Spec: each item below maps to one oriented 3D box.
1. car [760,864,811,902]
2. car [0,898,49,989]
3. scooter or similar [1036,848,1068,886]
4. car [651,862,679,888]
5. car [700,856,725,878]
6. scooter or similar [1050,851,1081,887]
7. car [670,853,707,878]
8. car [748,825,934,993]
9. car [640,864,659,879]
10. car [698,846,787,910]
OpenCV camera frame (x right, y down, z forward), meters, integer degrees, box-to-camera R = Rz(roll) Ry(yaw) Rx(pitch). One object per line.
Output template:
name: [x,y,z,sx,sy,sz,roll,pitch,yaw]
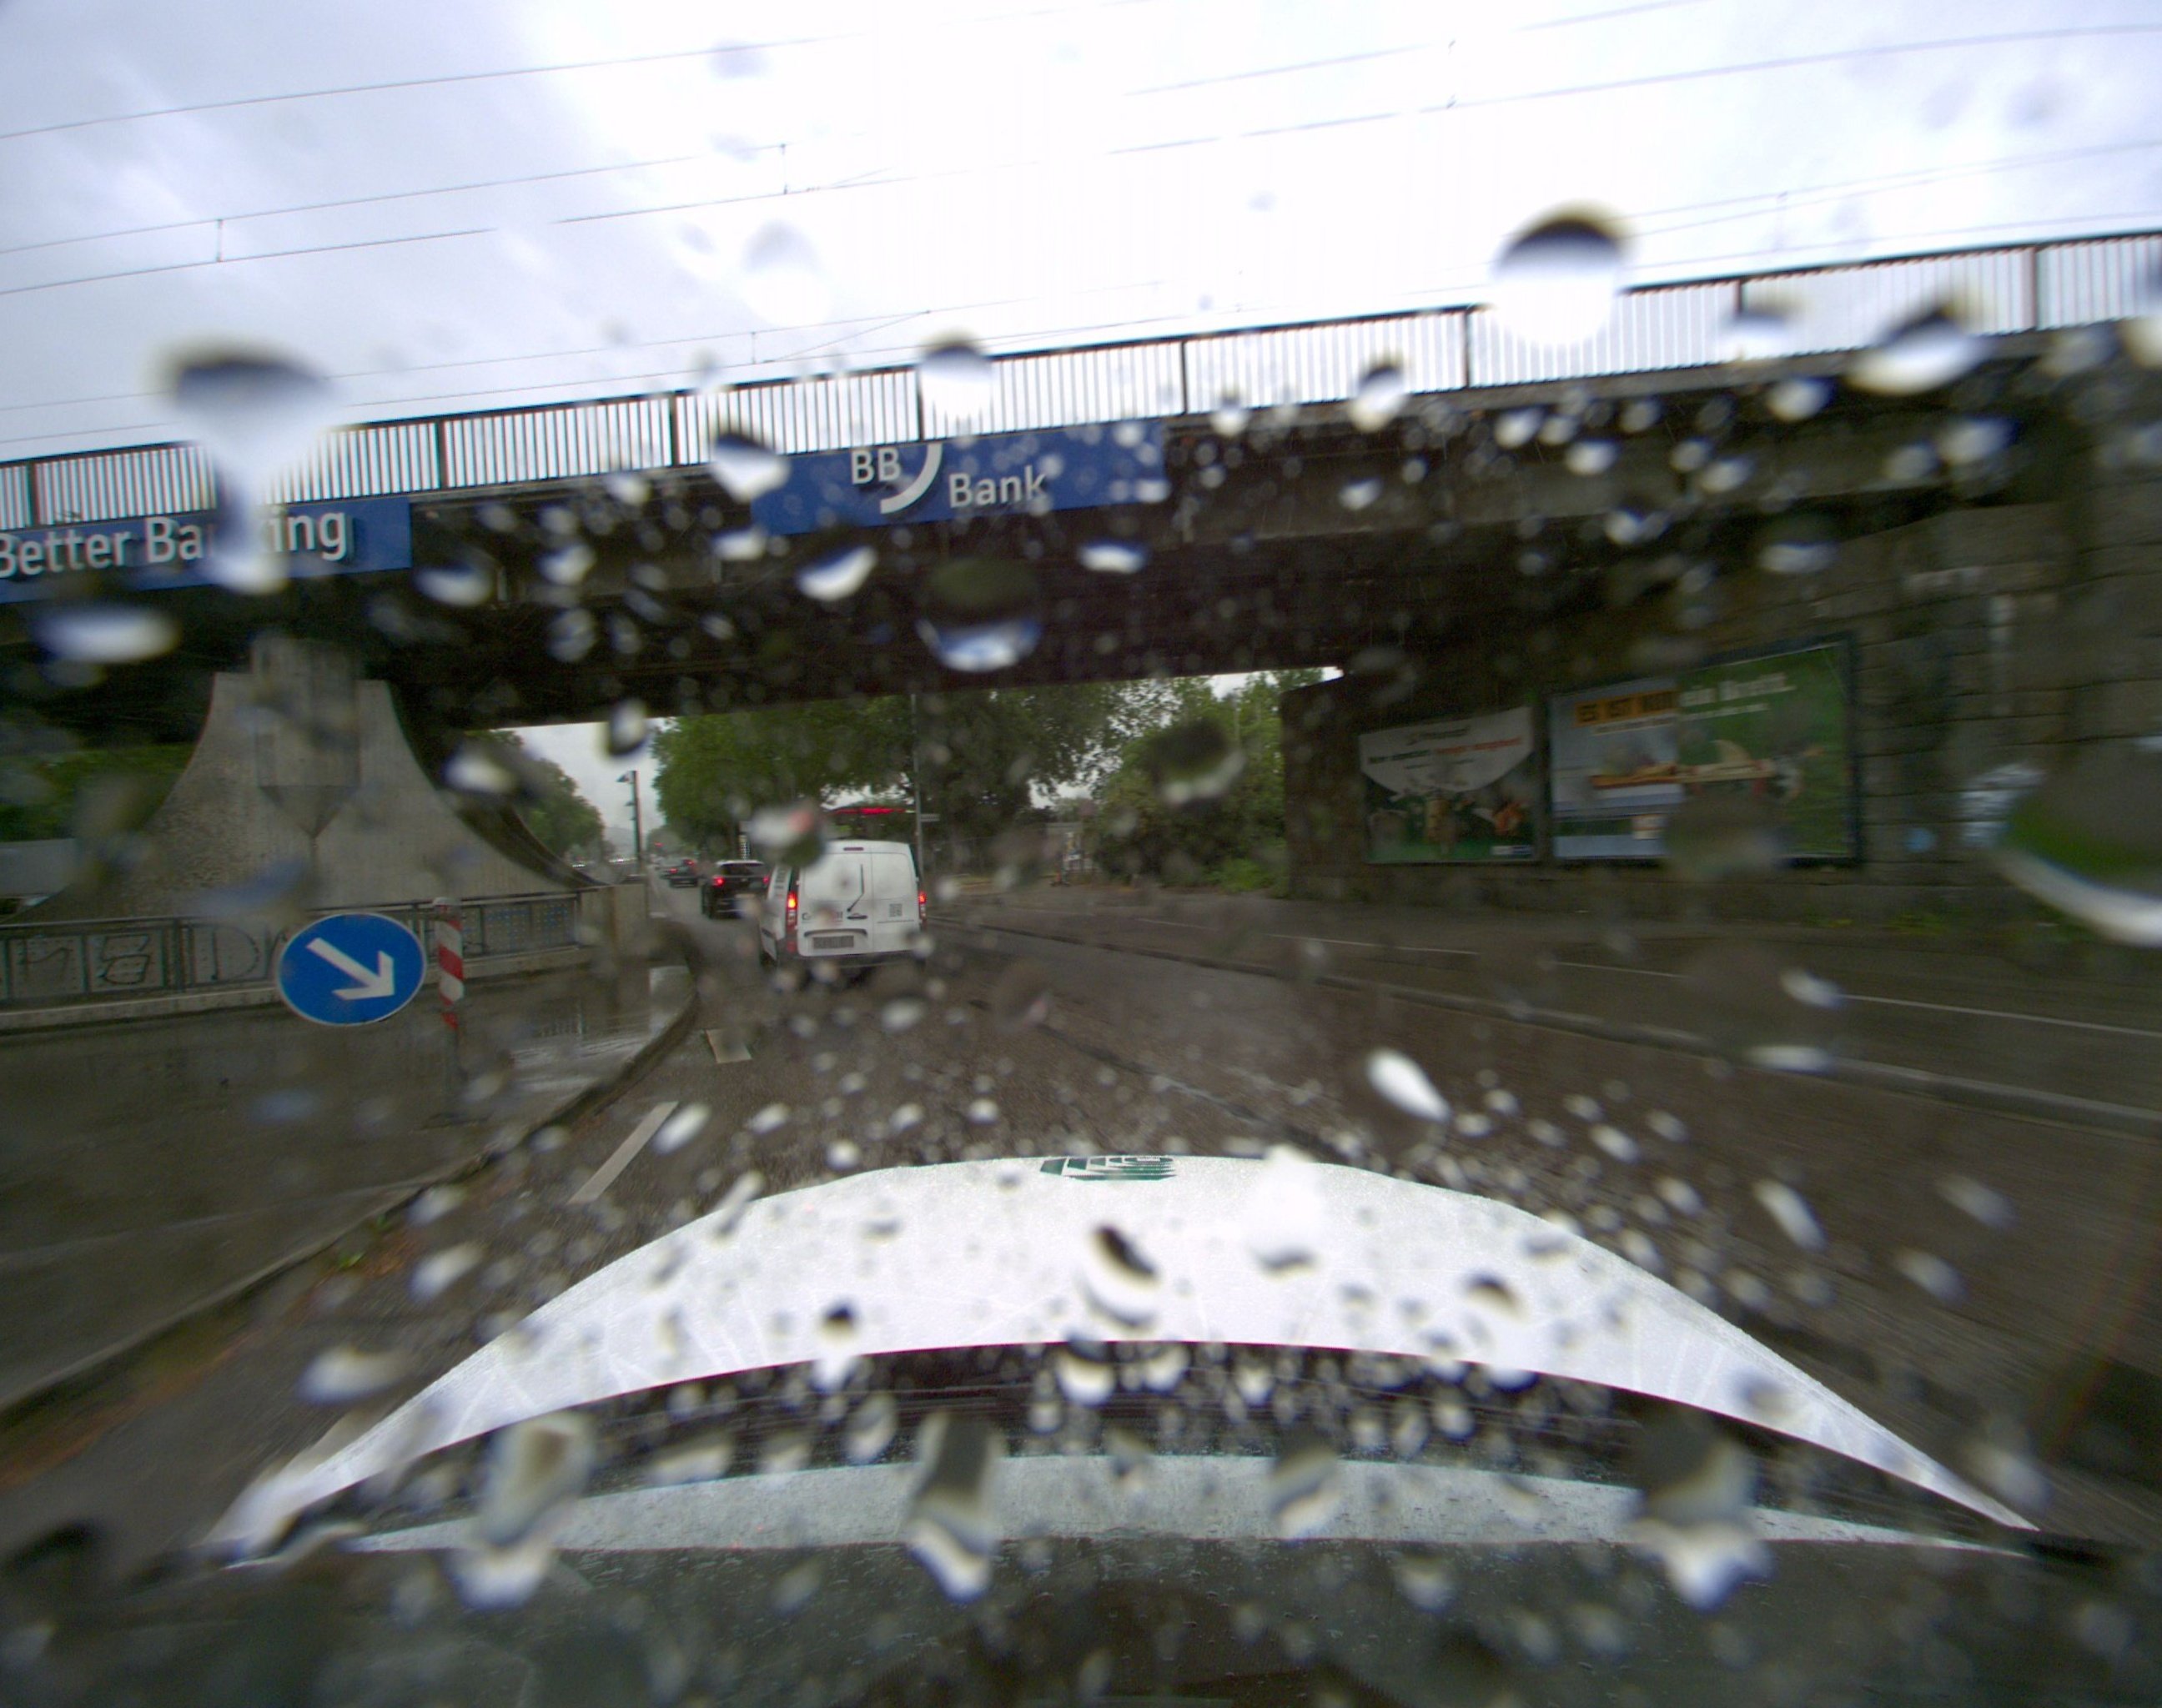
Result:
car: [-11.555,1.082,31.738,1.688,1.283,3.234,-3,1,-22]
car: [-18.151,1.509,12.280,1.827,1.452,3.961,-3,1,-31]
scooter or similar: [-1.080,0.476,30.913,0.703,1.310,1.563,-7,0,12]
car: [-37.249,1.865,72.929,2.060,2.140,3.964,-3,0,-27]
car: [-30.399,1.093,67.159,1.674,1.715,3.592,-2,0,-28]
scooter or similar: [-0.583,0.506,29.283,0.771,1.178,1.542,-5,2,-11]
car: [-24.640,0.699,51.244,1.740,1.448,3.972,-3,1,-21]
car: [-3.426,0.611,11.087,1.765,1.777,3.966,-3,0,-25]
car: [-60.284,2.432,113.868,2.003,2.013,3.967,-3,0,-25]
car: [-10.027,0.663,23.925,1.929,1.609,3.963,-4,1,-29]
